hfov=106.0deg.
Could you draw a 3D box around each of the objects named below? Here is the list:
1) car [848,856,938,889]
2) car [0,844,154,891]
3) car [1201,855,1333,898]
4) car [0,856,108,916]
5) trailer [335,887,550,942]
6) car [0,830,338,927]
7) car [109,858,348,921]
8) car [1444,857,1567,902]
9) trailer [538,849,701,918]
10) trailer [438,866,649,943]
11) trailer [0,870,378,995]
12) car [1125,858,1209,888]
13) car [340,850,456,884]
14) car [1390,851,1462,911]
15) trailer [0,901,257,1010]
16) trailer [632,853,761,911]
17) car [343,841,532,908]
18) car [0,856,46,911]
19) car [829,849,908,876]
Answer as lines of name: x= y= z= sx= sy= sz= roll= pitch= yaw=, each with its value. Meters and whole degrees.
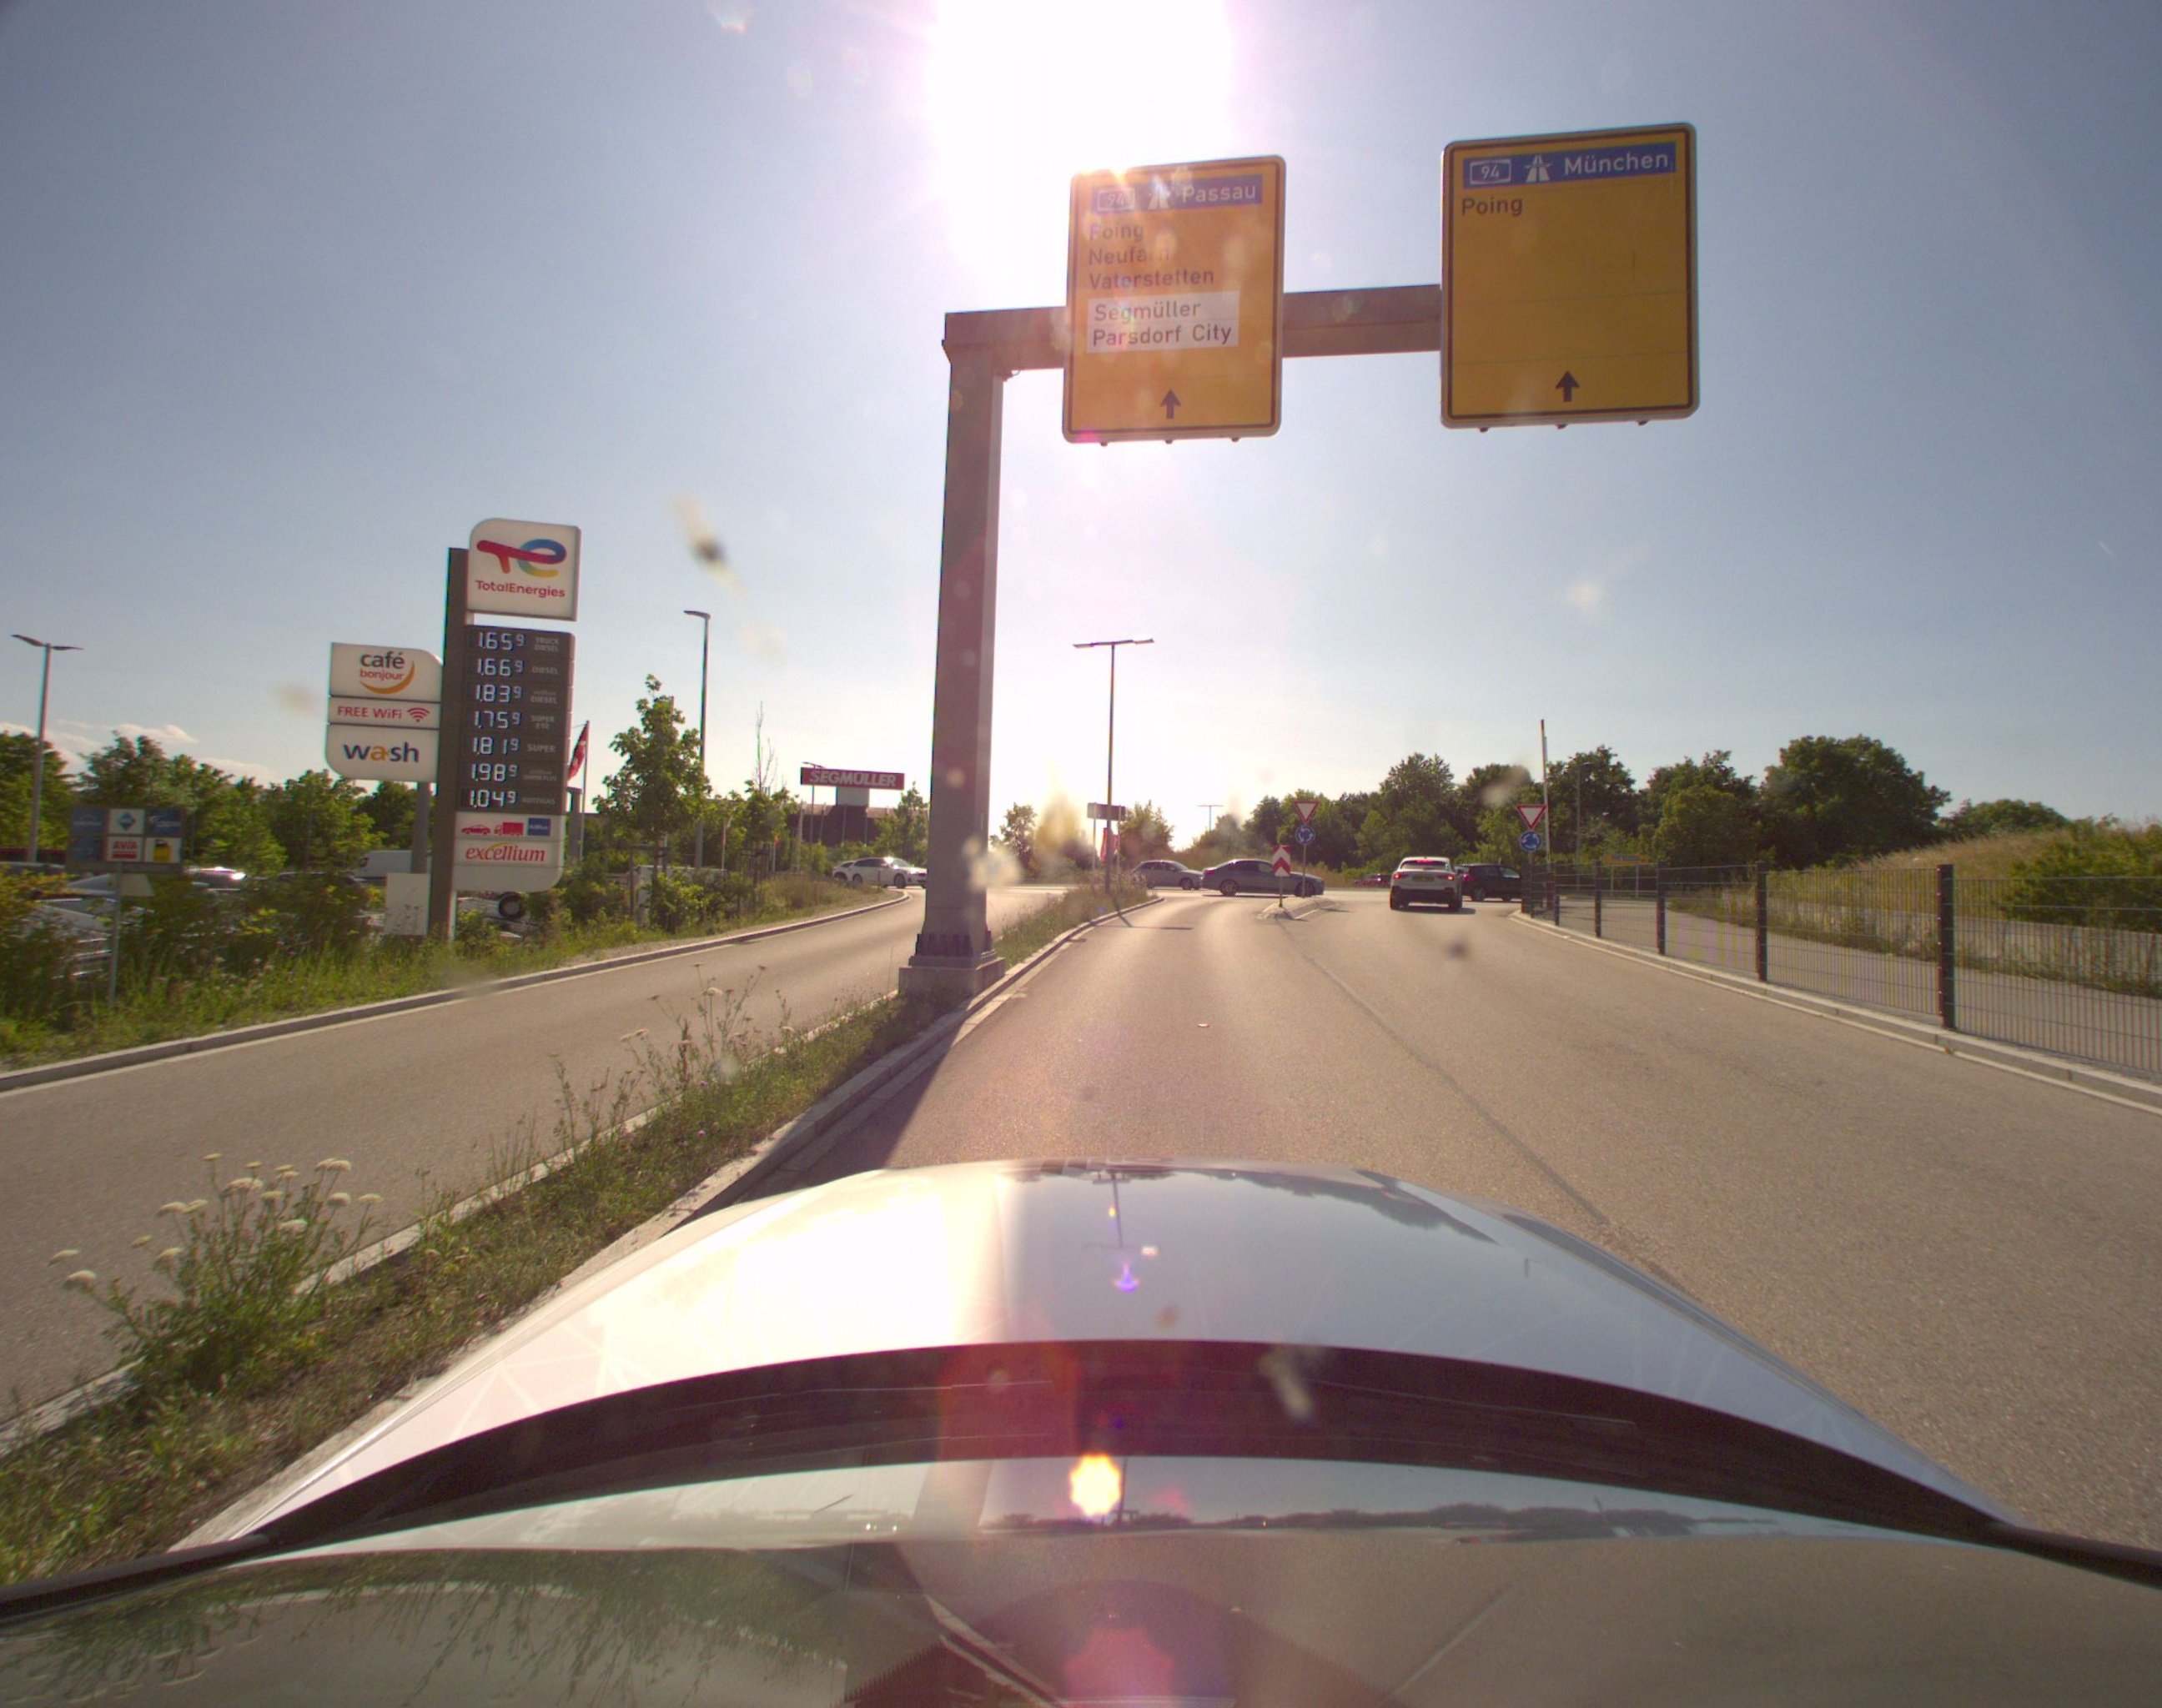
car: x=-8.811 y=0.849 z=38.048 sx=4.285 sy=1.352 sz=1.583 roll=1 pitch=-1 yaw=34
car: x=-34.697 y=0.454 z=27.404 sx=1.802 sy=1.464 sz=4.482 roll=1 pitch=-1 yaw=38
car: x=7.132 y=0.863 z=31.739 sx=4.831 sy=1.452 sz=2.004 roll=2 pitch=-1 yaw=7
car: x=-27.734 y=0.787 z=20.325 sx=1.809 sy=1.464 sz=4.008 roll=2 pitch=-1 yaw=8
trailer: x=-12.034 y=1.135 z=15.597 sx=2.842 sy=0.882 sz=1.851 roll=2 pitch=-1 yaw=-25
car: x=-16.757 y=0.384 z=14.904 sx=1.788 sy=1.483 sz=4.507 roll=2 pitch=0 yaw=8
car: x=-21.712 y=0.861 z=21.017 sx=1.812 sy=1.464 sz=4.003 roll=-1 pitch=-1 yaw=3
car: x=16.849 y=0.985 z=32.449 sx=3.931 sy=1.618 sz=1.820 roll=2 pitch=-1 yaw=4
trailer: x=-12.508 y=0.809 z=22.320 sx=3.705 sy=1.772 sz=1.791 roll=2 pitch=-1 yaw=-27
trailer: x=-11.956 y=1.138 z=18.446 sx=3.704 sy=1.452 sz=1.693 roll=5 pitch=-2 yaw=-27
trailer: x=-11.878 y=1.018 z=10.989 sx=3.185 sy=1.484 sz=1.541 roll=2 pitch=-1 yaw=-14
car: x=4.209 y=0.923 z=39.914 sx=3.722 sy=1.352 sz=1.540 roll=1 pitch=-1 yaw=27
car: x=-48.651 y=0.923 z=58.092 sx=6.240 sy=2.234 sz=2.037 roll=2 pitch=-1 yaw=-4
car: x=10.340 y=0.765 z=24.365 sx=1.825 sy=1.596 sz=4.348 roll=0 pitch=-1 yaw=24
trailer: x=-11.634 y=1.121 z=9.307 sx=2.778 sy=1.086 sz=1.310 roll=2 pitch=-1 yaw=-24
trailer: x=-12.547 y=0.858 z=26.699 sx=3.705 sy=1.772 sz=1.791 roll=0 pitch=0 yaw=-27
car: x=-16.836 y=0.517 z=21.564 sx=1.730 sy=1.552 sz=3.749 roll=2 pitch=-1 yaw=5
car: x=-30.050 y=0.761 z=20.805 sx=1.809 sy=1.464 sz=4.009 roll=2 pitch=-1 yaw=9
car: x=-12.783 y=0.552 z=49.229 sx=4.260 sy=1.530 sz=1.791 roll=1 pitch=-1 yaw=0
